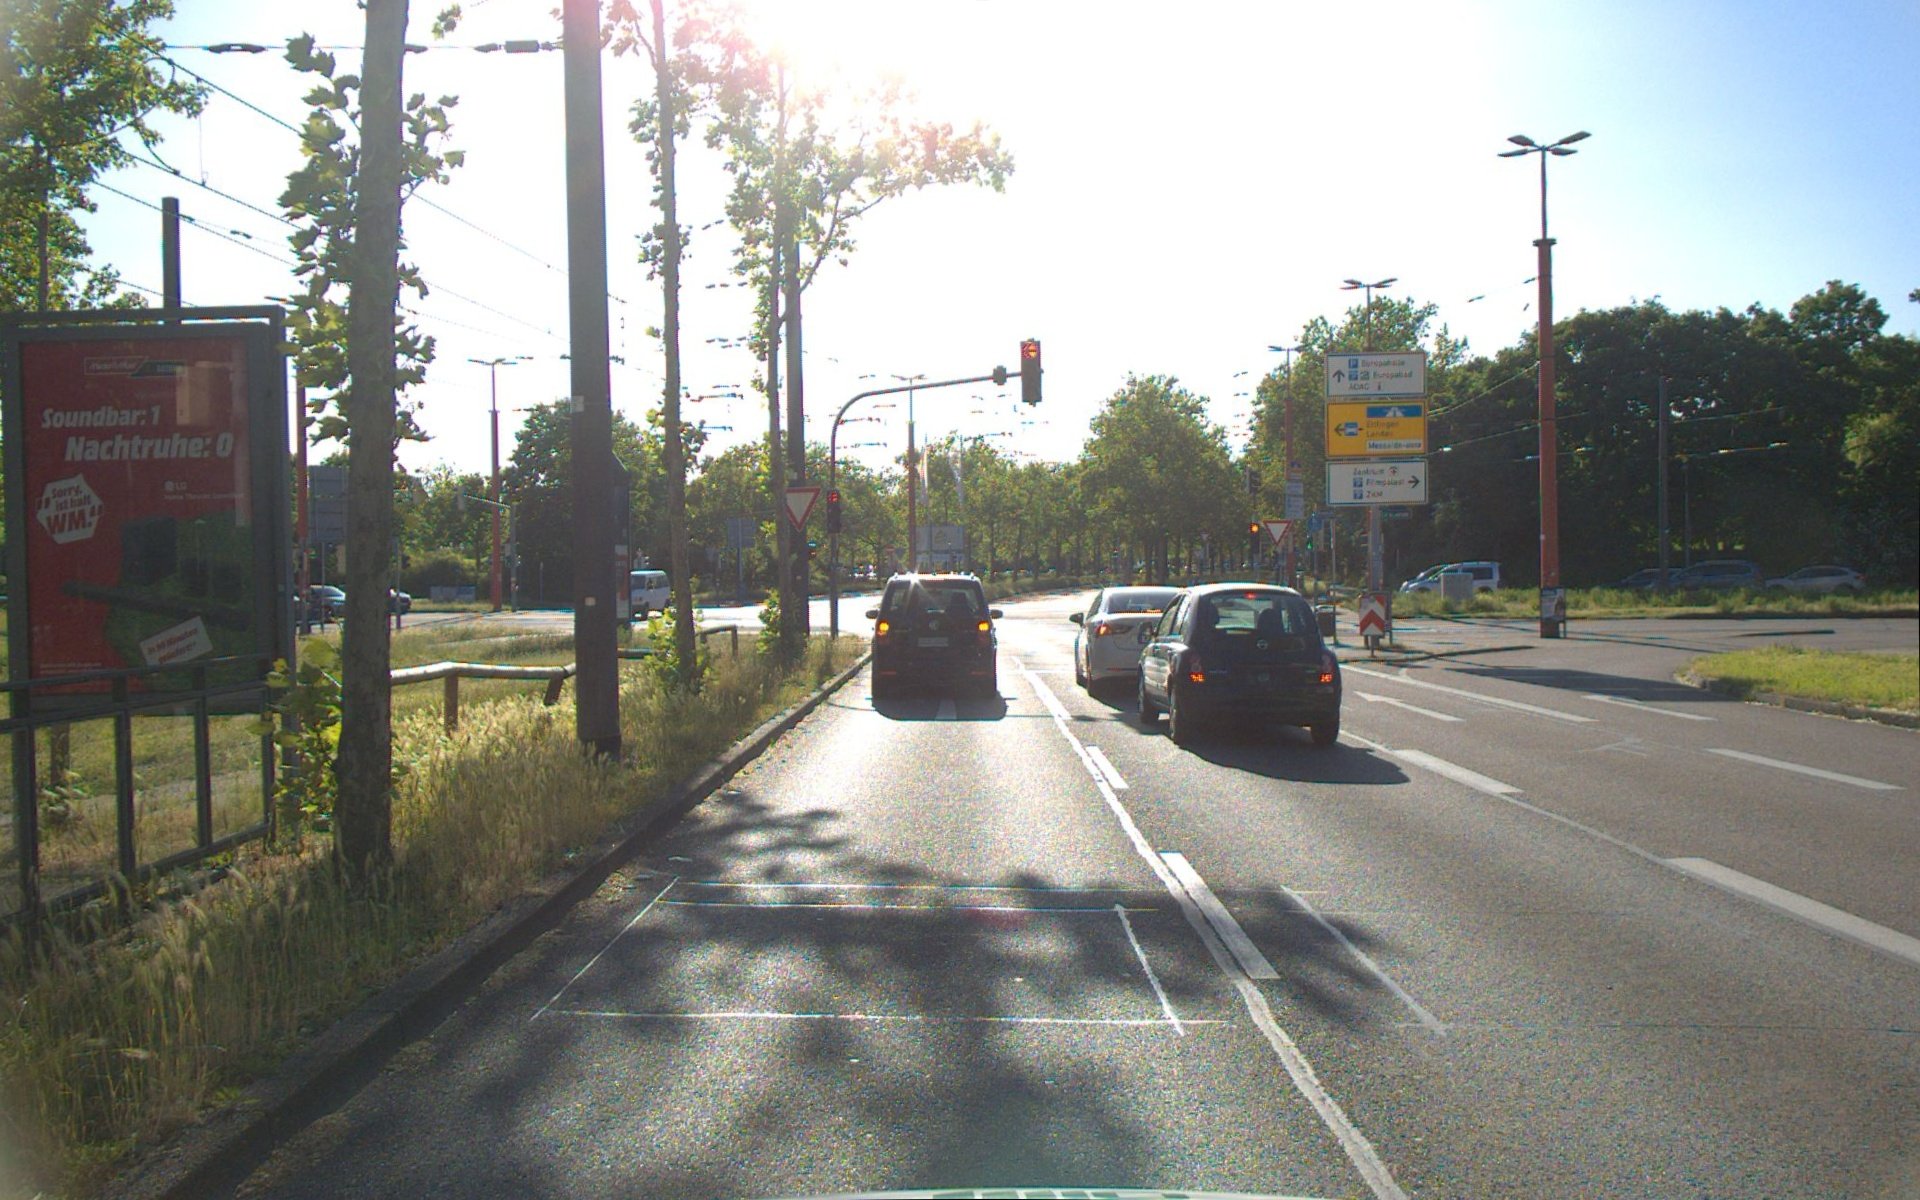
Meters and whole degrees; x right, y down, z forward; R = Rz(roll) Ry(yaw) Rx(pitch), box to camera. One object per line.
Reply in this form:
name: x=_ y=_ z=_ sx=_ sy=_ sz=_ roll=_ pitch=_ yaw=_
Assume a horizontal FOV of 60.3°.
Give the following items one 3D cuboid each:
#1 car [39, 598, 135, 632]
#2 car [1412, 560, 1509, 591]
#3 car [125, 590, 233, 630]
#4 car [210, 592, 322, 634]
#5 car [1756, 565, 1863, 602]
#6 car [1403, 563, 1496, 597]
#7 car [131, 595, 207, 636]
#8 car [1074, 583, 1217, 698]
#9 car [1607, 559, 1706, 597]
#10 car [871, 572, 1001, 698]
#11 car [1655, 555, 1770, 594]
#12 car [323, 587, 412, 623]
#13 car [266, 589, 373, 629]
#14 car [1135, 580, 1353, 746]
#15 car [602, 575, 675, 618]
car: x=-42.207 y=0.711 z=79.957 sx=3.950 sy=1.461 sz=1.817 roll=-1 pitch=3 yaw=19
car: x=22.017 y=-1.062 z=72.783 sx=3.908 sy=1.361 sz=1.727 roll=0 pitch=0 yaw=26
car: x=-36.483 y=0.473 z=77.262 sx=4.391 sy=1.638 sz=1.901 roll=-1 pitch=2 yaw=19
car: x=-31.085 y=0.574 z=74.130 sx=4.391 sy=1.638 sz=1.902 roll=-1 pitch=3 yaw=19
car: x=35.499 y=-0.696 z=69.229 sx=3.909 sy=1.521 sz=1.859 roll=0 pitch=0 yaw=26
car: x=22.506 y=-0.904 z=76.090 sx=3.908 sy=1.502 sz=1.788 roll=0 pitch=0 yaw=25
car: x=-31.949 y=0.610 z=66.752 sx=1.881 sy=1.570 sz=4.438 roll=0 pitch=0 yaw=-38
car: x=2.579 y=0.525 z=23.752 sx=1.644 sy=1.500 sz=4.131 roll=0 pitch=0 yaw=1
car: x=30.375 y=-0.943 z=72.157 sx=3.909 sy=1.588 sz=1.898 roll=0 pitch=0 yaw=26
car: x=-0.340 y=0.449 z=23.233 sx=1.676 sy=1.631 sz=3.349 roll=1 pitch=0 yaw=-1
car: x=30.999 y=-1.030 z=68.191 sx=4.264 sy=1.586 sz=1.871 roll=0 pitch=0 yaw=25
car: x=-30.230 y=0.258 z=84.399 sx=3.903 sy=1.649 sz=1.902 roll=-1 pitch=3 yaw=19
car: x=-30.044 y=0.427 z=77.580 sx=4.391 sy=1.638 sz=1.902 roll=-1 pitch=3 yaw=19
car: x=2.844 y=0.569 z=17.246 sx=1.605 sy=1.520 sz=3.503 roll=0 pitch=1 yaw=-1
car: x=-14.241 y=-0.162 z=73.520 sx=1.784 sy=1.811 sz=4.571 roll=0 pitch=0 yaw=8
